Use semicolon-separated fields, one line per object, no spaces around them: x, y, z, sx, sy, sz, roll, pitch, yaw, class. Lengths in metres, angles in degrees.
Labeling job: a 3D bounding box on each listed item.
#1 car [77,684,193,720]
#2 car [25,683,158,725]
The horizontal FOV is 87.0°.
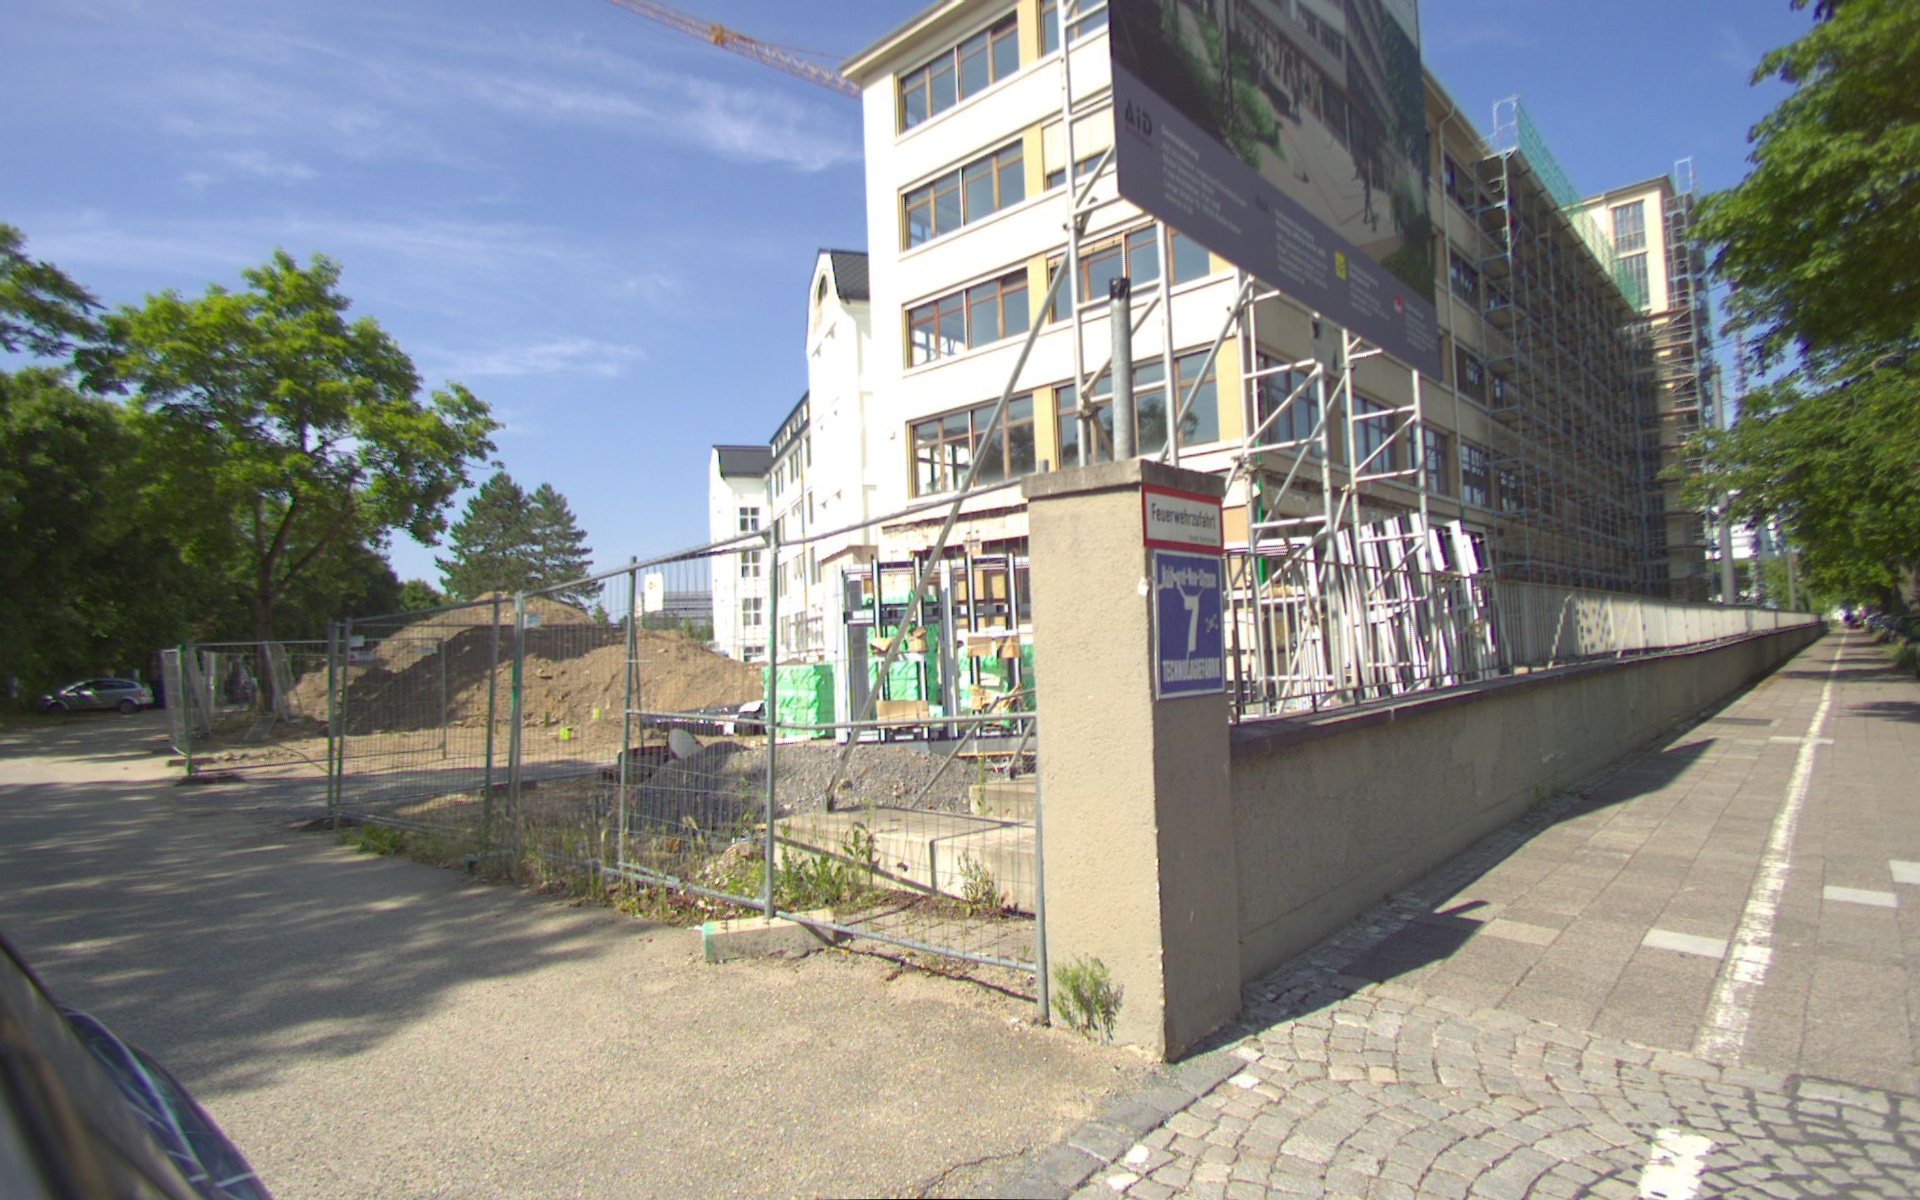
-39.165;4.829;48.179;3.931;1.453;2.006;0;-4;-27;car
-37.007;4.405;43.244;3.931;1.519;2.006;0;-4;-27;car
